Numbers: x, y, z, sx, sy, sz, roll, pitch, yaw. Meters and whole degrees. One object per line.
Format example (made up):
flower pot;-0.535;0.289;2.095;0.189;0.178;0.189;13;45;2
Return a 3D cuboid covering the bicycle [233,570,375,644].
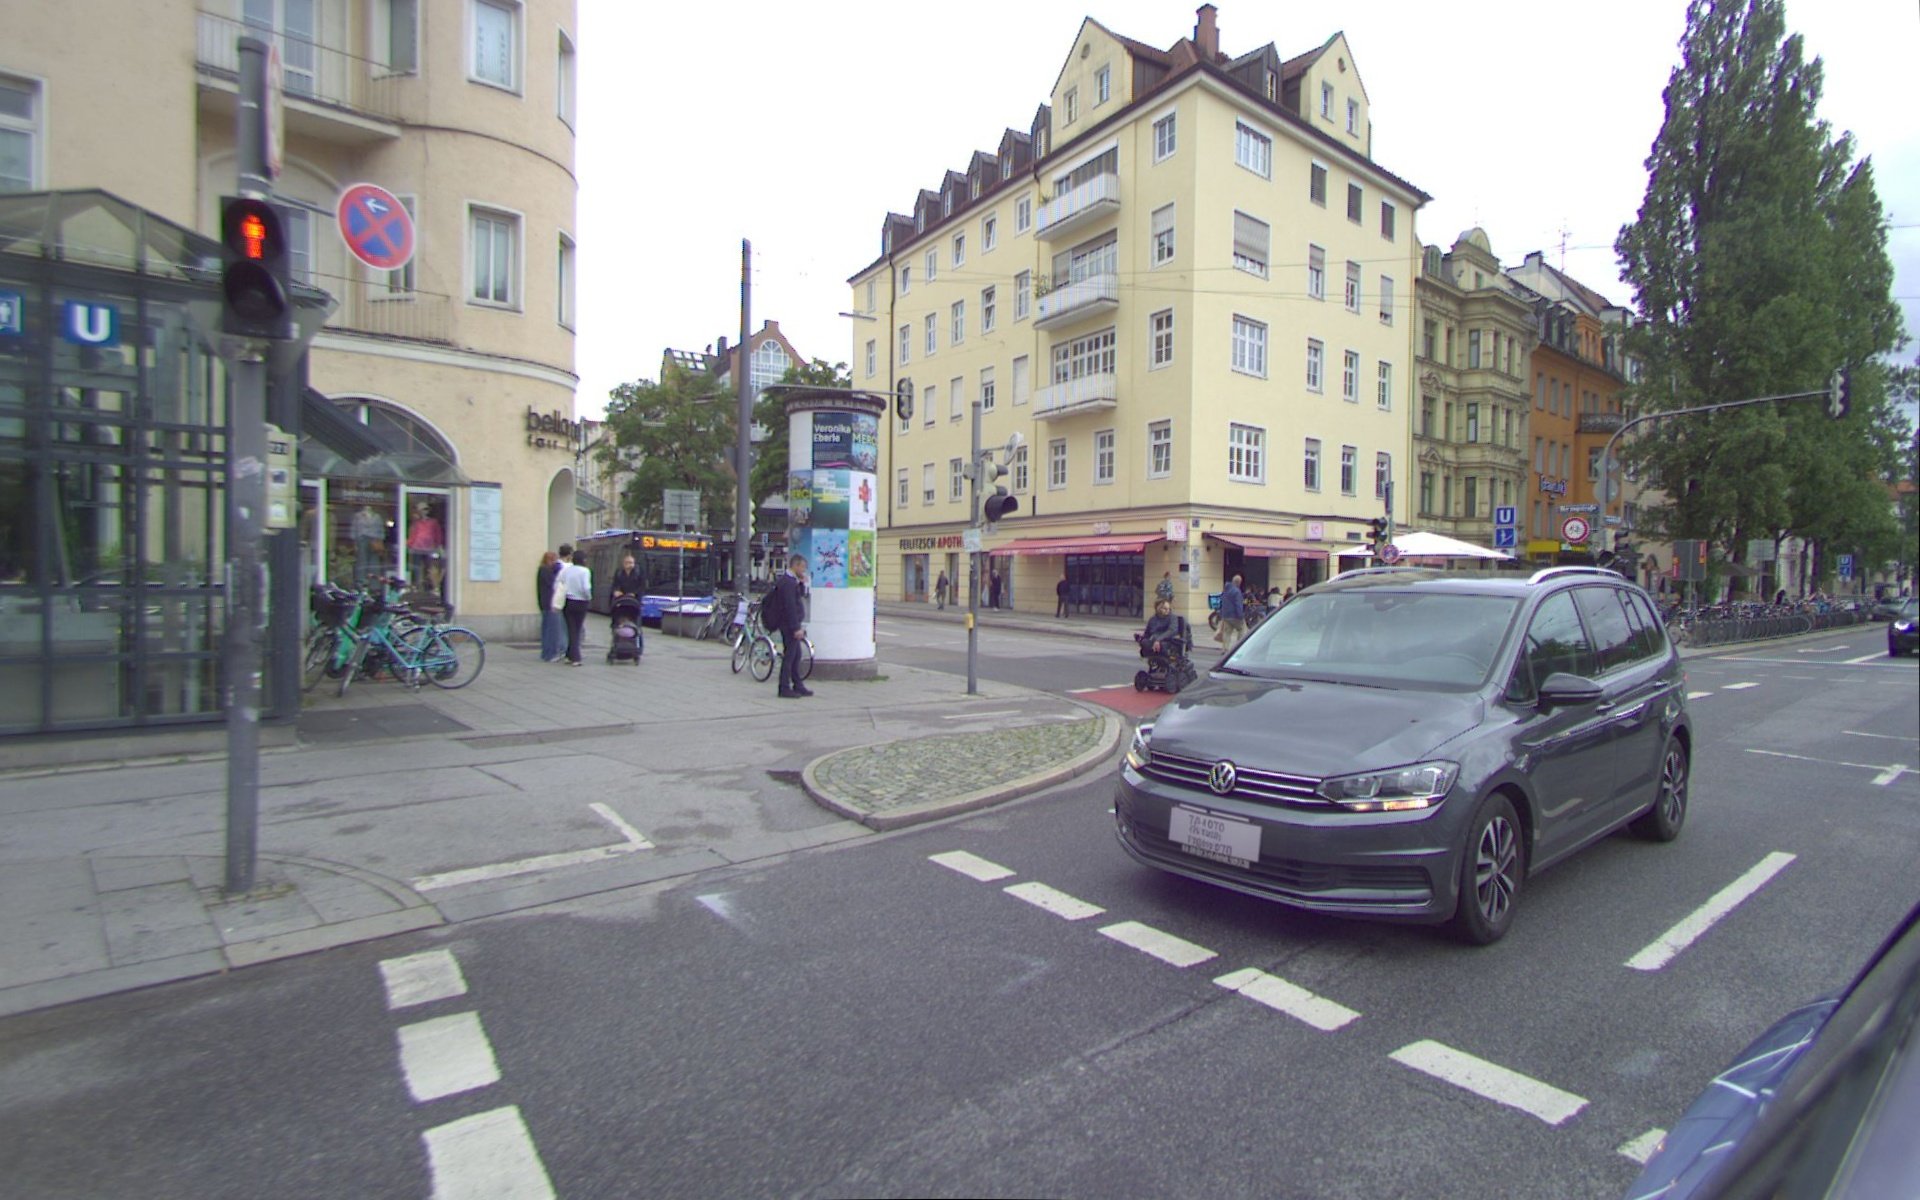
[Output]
bicycle;-10.445;0.095;16.169;0.494;1.103;1.837;2;2;43

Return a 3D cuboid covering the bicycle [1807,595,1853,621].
bicycle;35.311;0.320;41.101;0.319;1.008;1.841;1;0;2

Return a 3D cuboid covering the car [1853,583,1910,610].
car;51.907;-0.224;56.977;4.453;1.458;1.996;0;2;-43

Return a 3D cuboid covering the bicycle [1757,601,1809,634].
bicycle;28.476;0.593;35.030;0.341;1.008;1.841;1;2;3

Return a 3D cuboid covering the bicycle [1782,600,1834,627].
bicycle;32.722;0.501;39.079;0.319;1.008;1.843;1;0;-4

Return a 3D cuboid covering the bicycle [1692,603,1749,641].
bicycle;22.259;0.627;29.645;0.342;1.008;1.841;1;2;4

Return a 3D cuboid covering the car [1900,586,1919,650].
car;25.084;0.415;25.412;3.901;1.523;1.778;-1;1;-41

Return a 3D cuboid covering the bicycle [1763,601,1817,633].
bicycle;29.450;0.588;35.939;0.341;1.008;1.843;1;2;-1

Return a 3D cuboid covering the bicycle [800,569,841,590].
bicycle;-8.521;-1.272;61.820;2.429;1.257;0.758;1;1;-14

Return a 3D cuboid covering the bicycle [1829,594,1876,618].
bicycle;39.412;0.265;44.709;0.368;1.008;1.843;1;0;-2

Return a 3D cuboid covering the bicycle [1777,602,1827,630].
bicycle;31.454;0.576;37.840;0.319;1.008;1.842;1;0;-1

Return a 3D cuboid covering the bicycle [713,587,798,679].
bicycle;-2.941;0.446;14.437;0.515;1.174;1.573;2;1;-37

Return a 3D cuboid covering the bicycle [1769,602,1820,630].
bicycle;30.954;0.579;37.555;0.319;1.008;1.842;1;0;-1

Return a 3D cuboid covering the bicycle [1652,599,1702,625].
bicycle;31.193;0.518;44.042;1.723;1.059;0.381;1;0;44

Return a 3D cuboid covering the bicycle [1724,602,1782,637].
bicycle;25.314;0.609;32.338;0.341;1.008;1.843;1;2;-1

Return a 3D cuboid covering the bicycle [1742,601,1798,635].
bicycle;27.346;0.597;34.197;0.341;1.008;1.843;1;2;-1

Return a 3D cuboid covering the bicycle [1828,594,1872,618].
bicycle;38.947;0.268;44.310;0.368;1.008;1.840;1;0;3

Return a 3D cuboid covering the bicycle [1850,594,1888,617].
bicycle;42.101;0.250;46.898;0.369;1.008;1.836;1;0;10

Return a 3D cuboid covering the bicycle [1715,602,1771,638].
bicycle;24.316;0.615;31.461;0.341;1.008;1.841;1;2;2

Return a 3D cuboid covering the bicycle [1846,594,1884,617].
bicycle;41.596;0.253;46.521;0.369;1.008;1.836;1;0;10

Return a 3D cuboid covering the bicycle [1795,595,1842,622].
bicycle;33.710;0.329;39.767;0.319;1.008;1.841;1;0;2

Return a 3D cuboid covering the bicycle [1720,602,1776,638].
bicycle;24.809;0.612;31.890;0.341;1.008;1.841;1;2;2

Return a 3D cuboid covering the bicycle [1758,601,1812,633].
bicycle;28.942;0.591;35.528;0.341;1.008;1.843;1;2;-1

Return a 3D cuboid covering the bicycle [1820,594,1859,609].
bicycle;56.606;0.111;65.165;0.385;0.928;1.838;0;1;-39

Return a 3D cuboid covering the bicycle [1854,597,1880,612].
bicycle;63.607;0.304;70.980;1.801;1.036;0.447;0;1;-14

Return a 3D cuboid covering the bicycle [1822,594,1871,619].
bicycle;37.974;0.274;43.369;0.368;1.008;1.843;1;0;-3

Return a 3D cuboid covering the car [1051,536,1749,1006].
car;2.784;0.567;5.765;4.625;1.667;1.775;0;2;-40

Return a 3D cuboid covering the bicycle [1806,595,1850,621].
bicycle;34.604;0.324;40.374;0.319;1.008;1.839;1;0;6

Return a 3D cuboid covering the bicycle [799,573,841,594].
bicycle;-8.415;-1.008;60.798;2.429;1.204;0.758;1;1;-14

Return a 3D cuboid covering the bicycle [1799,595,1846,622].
bicycle;34.206;0.327;40.173;0.319;1.008;1.841;1;0;2

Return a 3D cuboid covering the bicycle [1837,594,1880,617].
bicycle;40.486;0.259;45.615;0.368;1.008;1.840;1;0;4

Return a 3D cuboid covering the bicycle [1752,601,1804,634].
bicycle;27.926;0.597;34.587;0.341;1.008;1.841;1;2;3

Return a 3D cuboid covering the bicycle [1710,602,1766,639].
bicycle;23.793;0.618;30.989;0.341;1.008;1.841;1;2;2

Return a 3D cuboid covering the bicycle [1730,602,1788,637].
bicycle;25.821;0.606;32.752;0.341;1.008;1.843;1;2;-1

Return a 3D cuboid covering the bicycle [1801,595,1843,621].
bicycle;34.918;0.323;41.026;0.319;1.008;1.838;1;0;7

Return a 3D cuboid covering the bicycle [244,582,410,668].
bicycle;-8.413;0.302;13.541;0.492;1.072;1.843;2;1;34

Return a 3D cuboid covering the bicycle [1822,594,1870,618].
bicycle;38.375;0.271;43.865;0.368;1.008;1.843;1;0;-3

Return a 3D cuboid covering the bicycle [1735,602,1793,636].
bicycle;26.327;0.603;33.177;0.341;1.008;1.843;1;2;-1

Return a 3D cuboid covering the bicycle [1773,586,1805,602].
bicycle;60.580;-0.437;73.977;1.855;1.169;0.464;0;1;8

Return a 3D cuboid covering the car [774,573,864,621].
car;-5.122;-0.170;36.276;1.857;1.439;4.006;-5;4;-28

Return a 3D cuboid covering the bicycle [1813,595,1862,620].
bicycle;36.378;0.283;41.960;0.319;1.008;1.843;1;0;-3

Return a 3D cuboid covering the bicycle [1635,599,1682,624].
bicycle;31.240;0.519;45.301;0.379;1.059;1.730;2;0;-29

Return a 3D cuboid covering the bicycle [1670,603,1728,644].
bicycle;20.587;0.633;28.230;0.342;1.008;1.841;1;2;4

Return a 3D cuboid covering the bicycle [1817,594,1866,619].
bicycle;37.384;0.277;42.931;0.368;1.008;1.843;1;0;-3

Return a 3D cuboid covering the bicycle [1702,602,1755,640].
bicycle;23.300;0.621;30.709;0.342;1.008;1.840;1;2;5

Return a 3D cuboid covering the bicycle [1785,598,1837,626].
bicycle;32.351;0.447;38.504;0.319;1.008;1.843;1;0;-4

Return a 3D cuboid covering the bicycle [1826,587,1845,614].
bicycle;42.762;0.019;49.429;1.747;1.304;0.424;0;1;-40

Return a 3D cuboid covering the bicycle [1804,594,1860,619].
bicycle;36.717;0.276;42.641;0.367;1.008;1.846;2;0;-16

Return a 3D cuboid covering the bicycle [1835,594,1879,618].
bicycle;39.955;0.262;45.102;0.368;1.008;1.841;1;0;1

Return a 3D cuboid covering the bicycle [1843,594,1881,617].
bicycle;41.016;0.256;46.045;0.369;1.008;1.836;1;0;10

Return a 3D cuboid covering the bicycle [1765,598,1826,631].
bicycle;30.490;0.512;36.956;0.457;1.126;1.845;1;2;-8

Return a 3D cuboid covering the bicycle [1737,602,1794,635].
bicycle;26.863;0.600;33.773;0.341;1.008;1.843;1;2;-1
